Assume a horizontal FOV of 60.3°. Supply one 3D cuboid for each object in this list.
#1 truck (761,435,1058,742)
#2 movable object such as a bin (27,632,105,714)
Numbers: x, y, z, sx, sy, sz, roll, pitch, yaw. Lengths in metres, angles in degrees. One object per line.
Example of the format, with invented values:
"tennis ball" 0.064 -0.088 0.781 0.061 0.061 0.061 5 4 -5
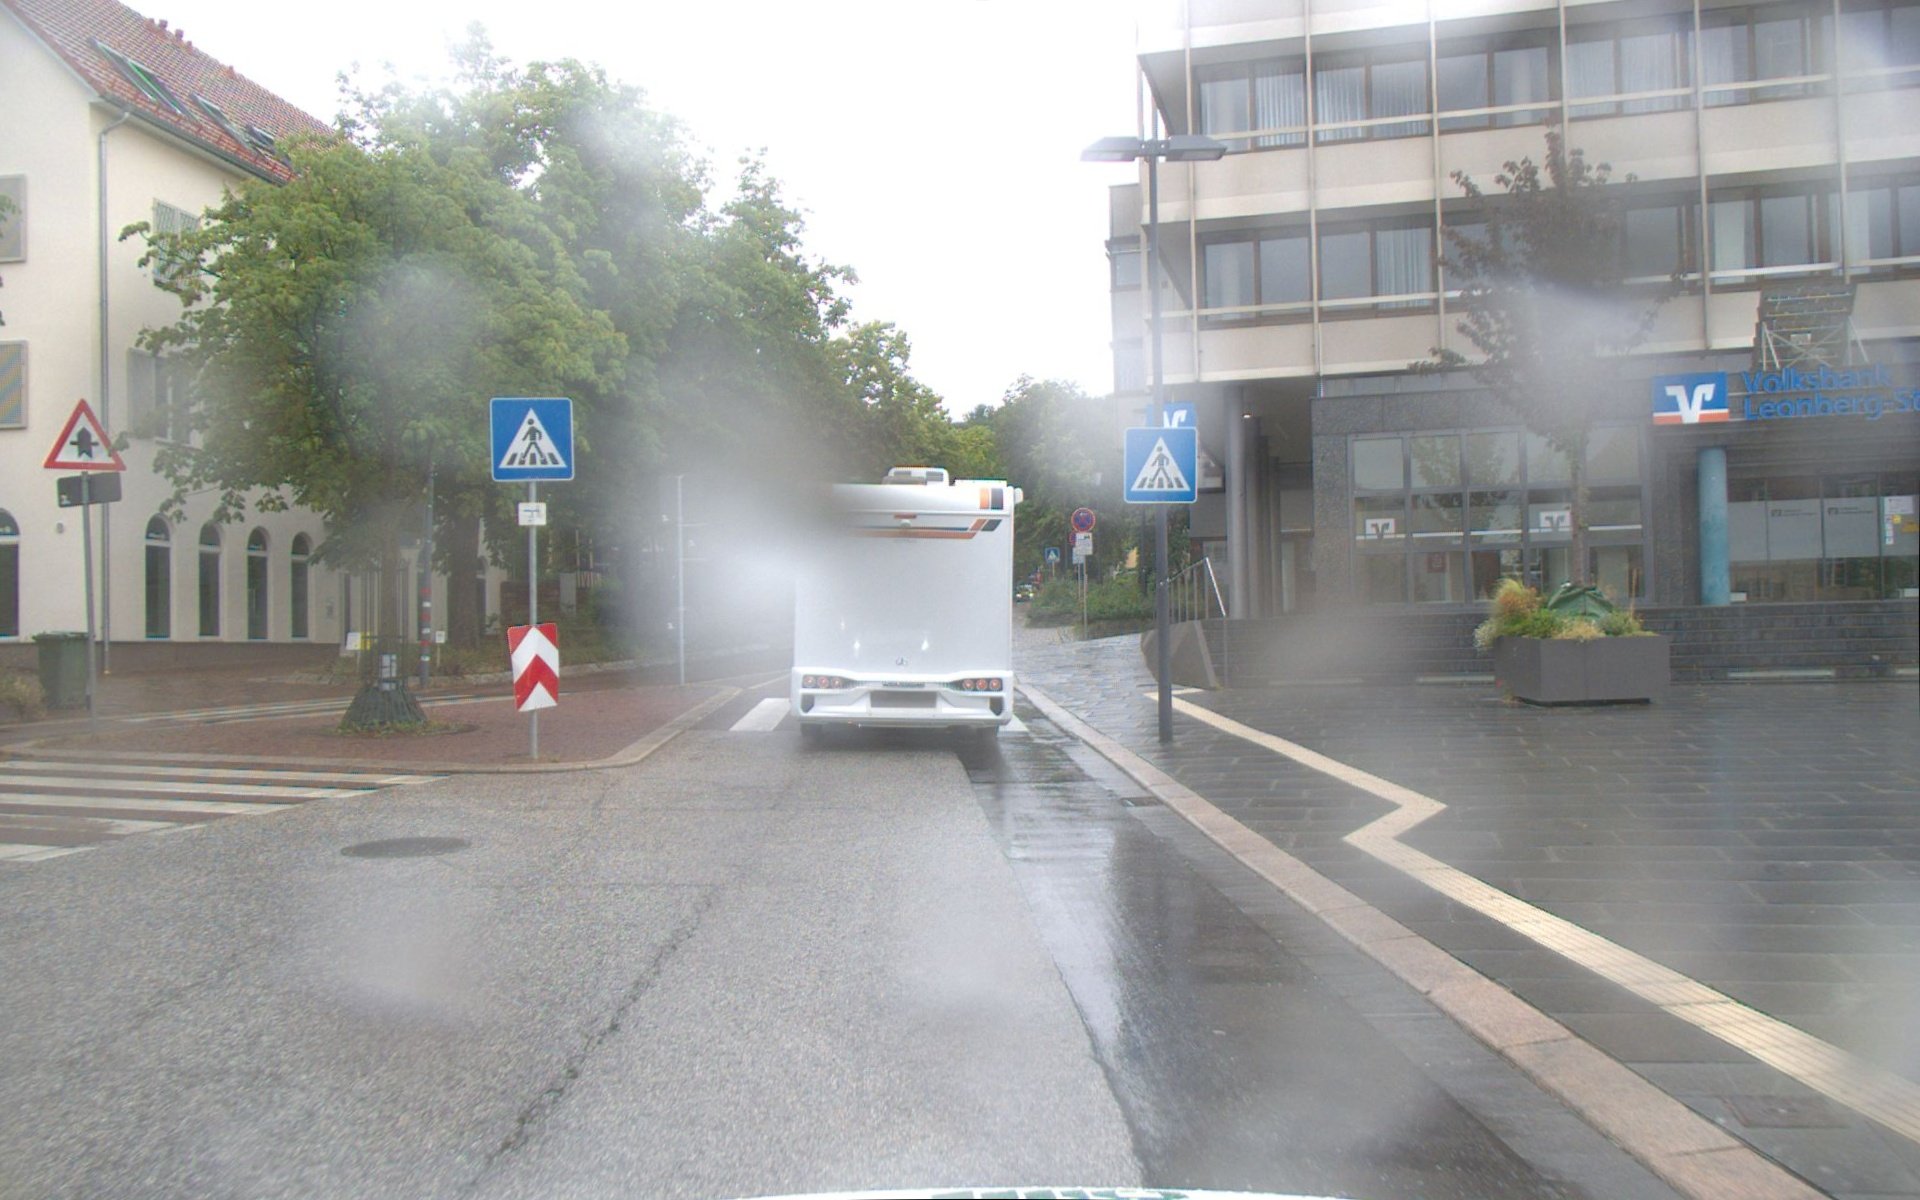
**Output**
"truck" -0.573 -0.054 19.003 2.749 2.846 6.104 -2 -1 -2
"movable object such as a bin" -12.395 1.008 22.935 0.621 1.077 0.697 -3 -1 24
